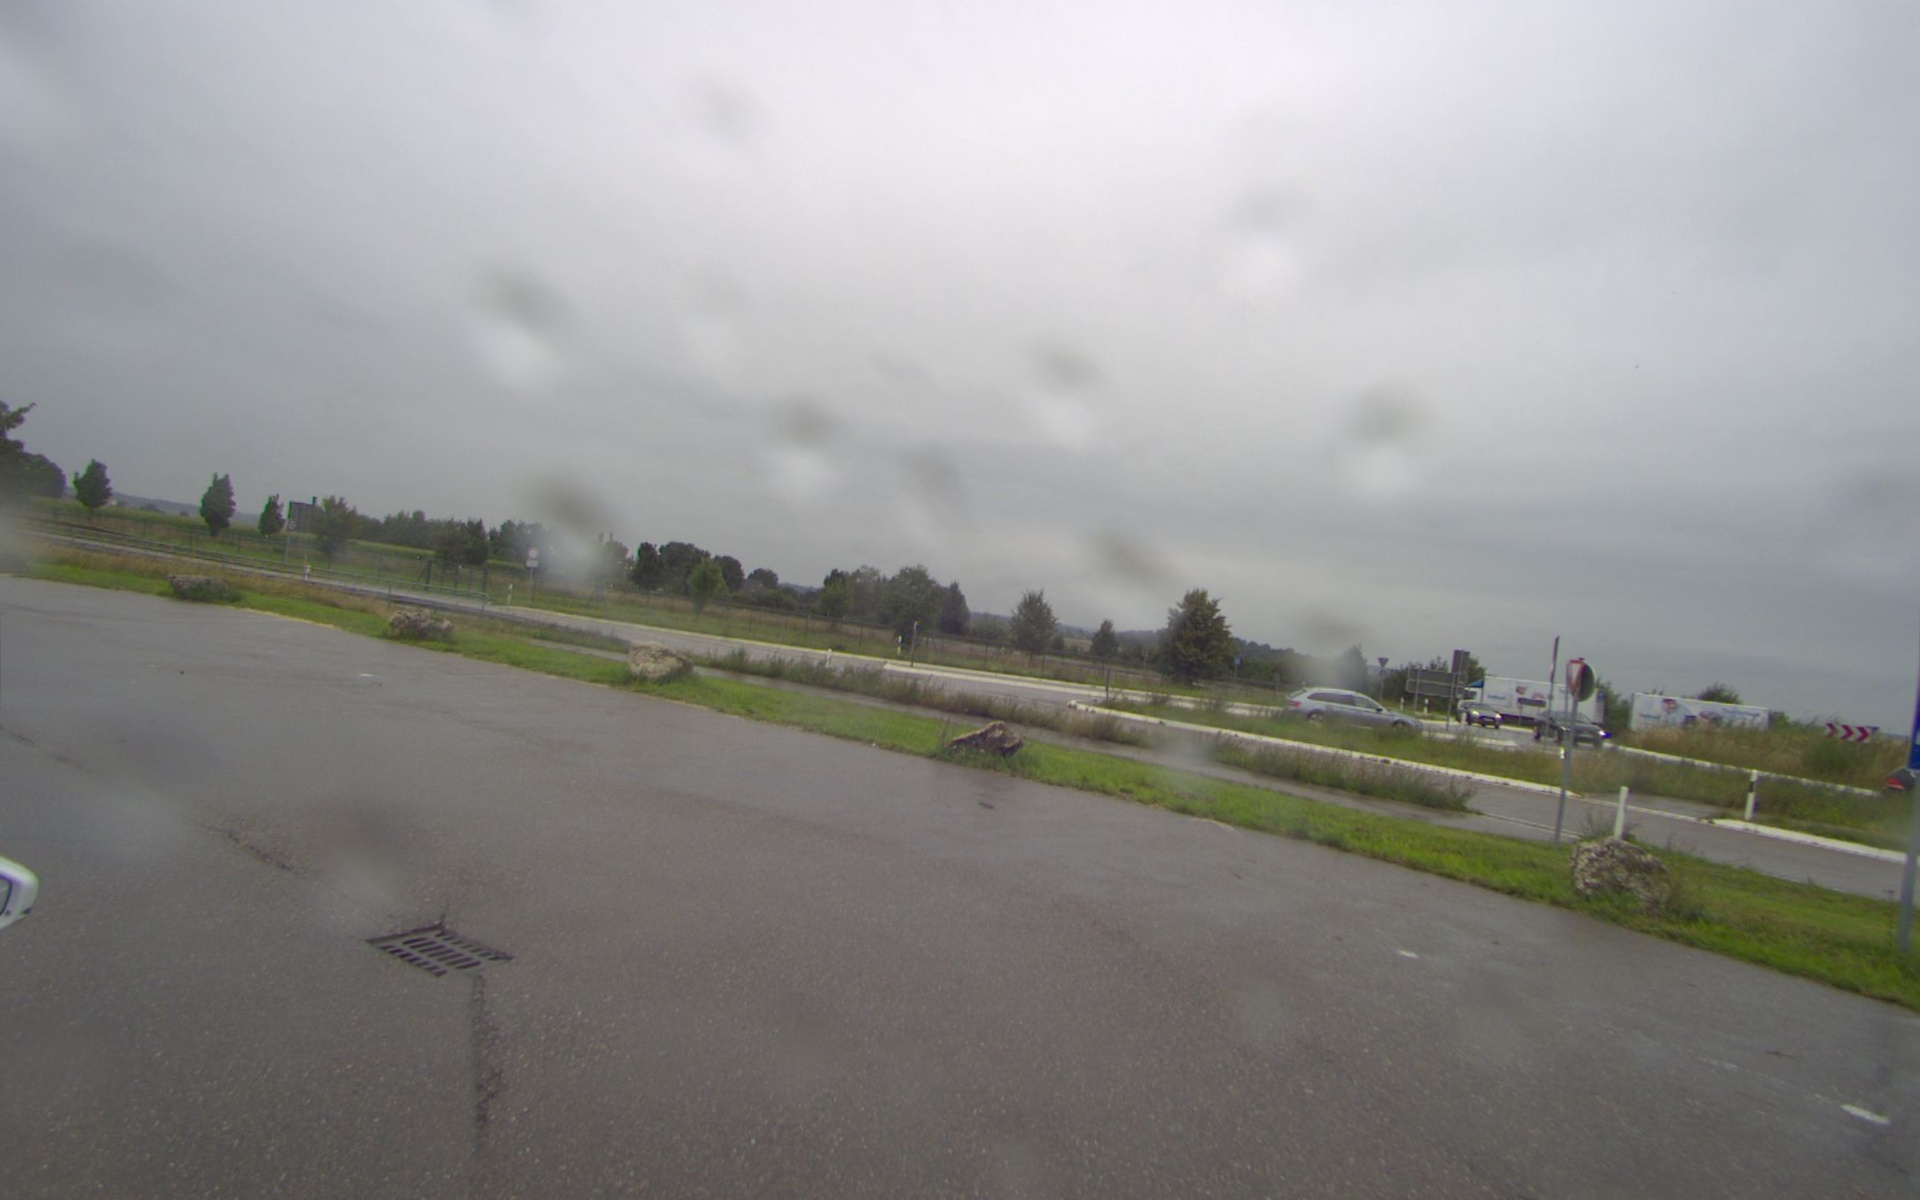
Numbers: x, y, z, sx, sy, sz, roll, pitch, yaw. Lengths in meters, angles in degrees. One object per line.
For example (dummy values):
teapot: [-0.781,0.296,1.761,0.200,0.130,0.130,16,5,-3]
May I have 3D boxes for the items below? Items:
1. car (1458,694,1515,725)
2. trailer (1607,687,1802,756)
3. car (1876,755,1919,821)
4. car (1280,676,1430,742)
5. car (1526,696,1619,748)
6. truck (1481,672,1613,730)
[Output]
car: [32.516,6.755,62.260,1.723,1.341,4.311,6,0,9]
trailer: [49.218,8.008,66.967,9.971,2.936,2.205,7,-2,31]
car: [27.549,5.345,26.684,1.985,1.621,4.478,9,-2,-38]
car: [14.046,3.861,36.064,4.573,1.500,2.000,8,1,11]
car: [27.819,5.483,45.870,1.856,1.705,4.672,6,0,9]
truck: [42.021,7.200,72.218,7.688,2.941,2.174,6,-2,43]
